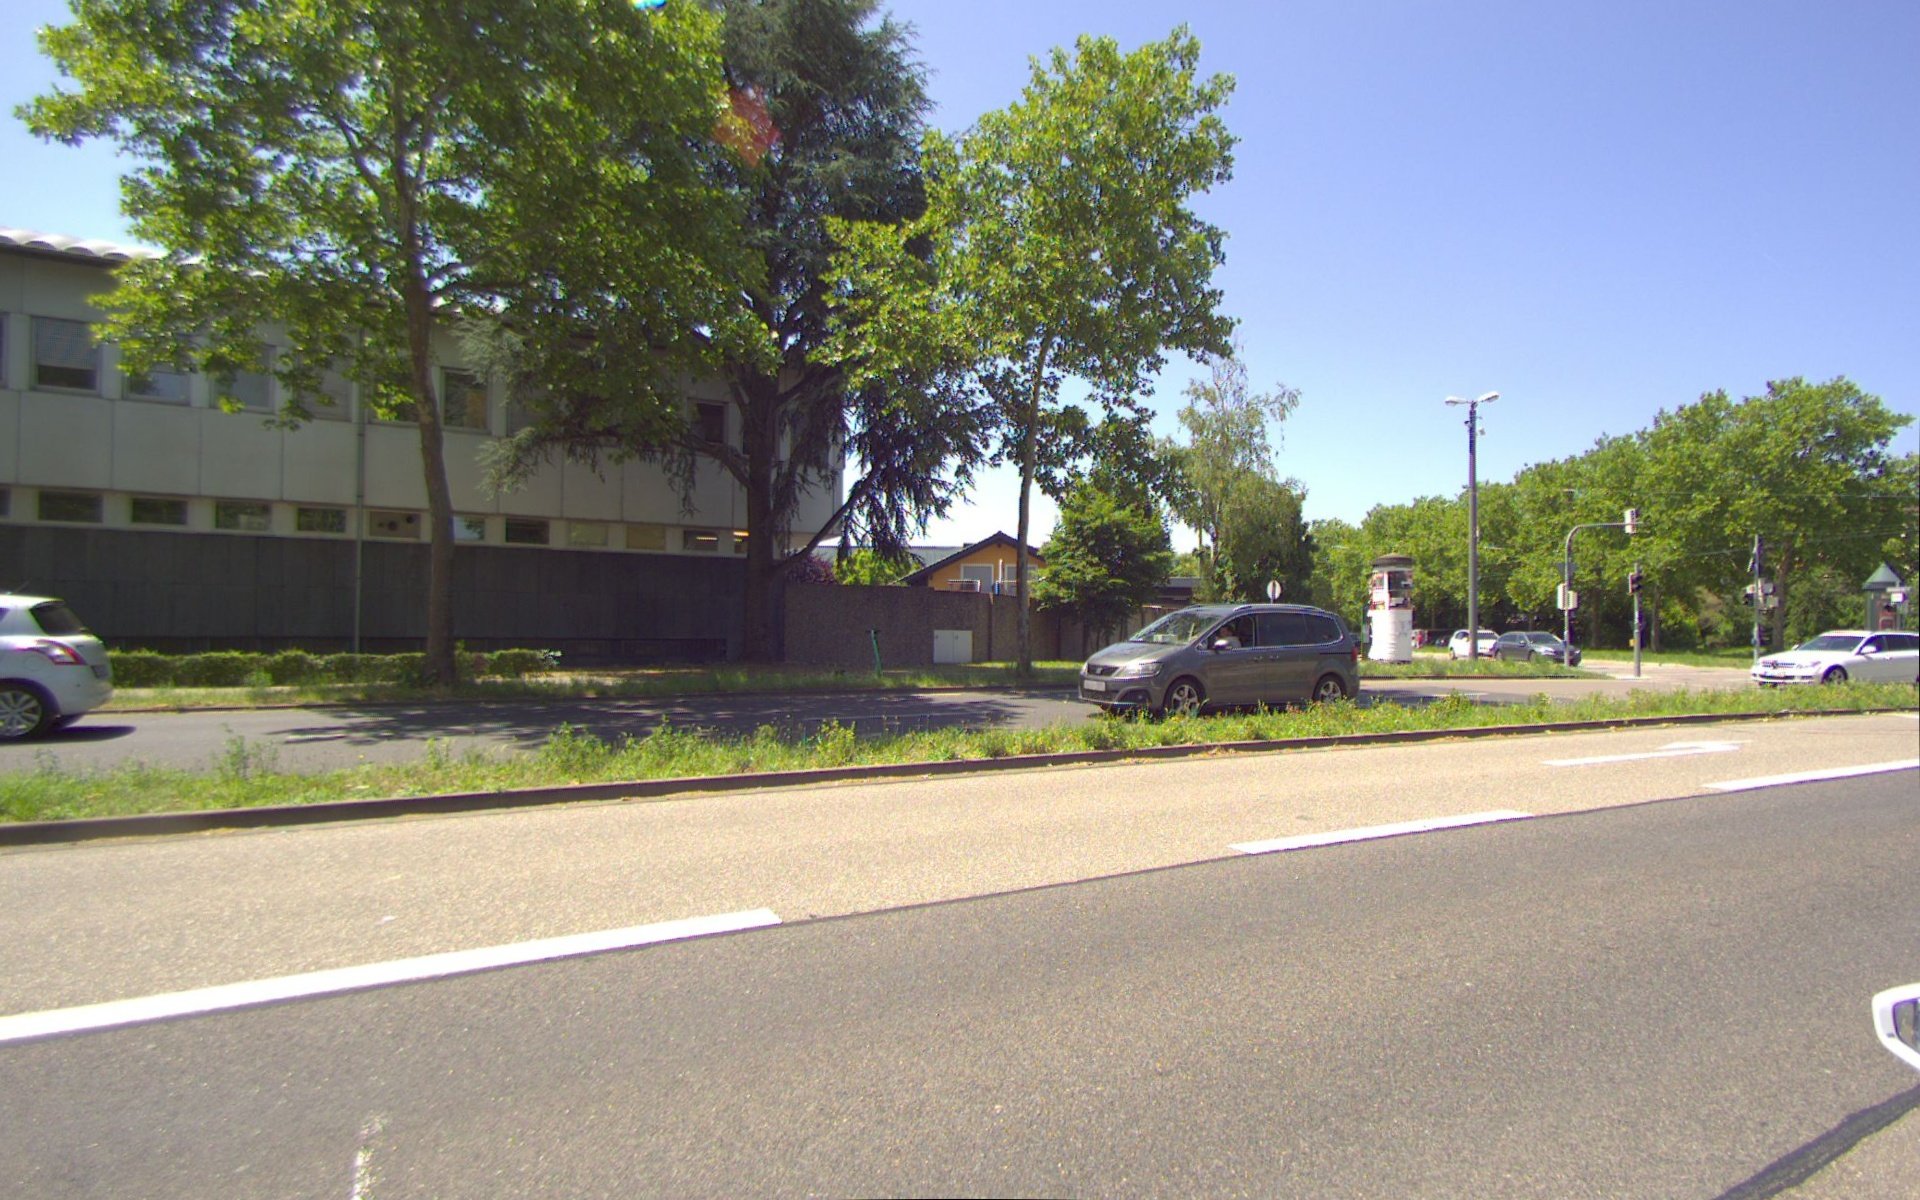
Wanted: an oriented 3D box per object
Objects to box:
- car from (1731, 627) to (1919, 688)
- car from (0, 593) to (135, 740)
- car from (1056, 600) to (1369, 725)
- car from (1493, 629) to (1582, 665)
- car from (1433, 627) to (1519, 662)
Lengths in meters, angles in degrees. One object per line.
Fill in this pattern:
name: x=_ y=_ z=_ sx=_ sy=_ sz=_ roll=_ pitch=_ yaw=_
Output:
car: x=21.812 y=1.400 z=24.859 sx=4.467 sy=1.437 sz=1.856 roll=1 pitch=-1 yaw=-11
car: x=-11.019 y=0.661 z=10.340 sx=3.631 sy=1.478 sz=1.723 roll=1 pitch=-2 yaw=-30
car: x=3.913 y=0.900 z=15.452 sx=4.562 sy=1.678 sz=1.942 roll=1 pitch=-1 yaw=-28
car: x=25.057 y=1.993 z=43.740 sx=1.729 sy=1.476 sz=3.994 roll=0 pitch=-1 yaw=2
car: x=25.803 y=2.196 z=50.414 sx=2.172 sy=1.626 sz=4.463 roll=0 pitch=-1 yaw=2
